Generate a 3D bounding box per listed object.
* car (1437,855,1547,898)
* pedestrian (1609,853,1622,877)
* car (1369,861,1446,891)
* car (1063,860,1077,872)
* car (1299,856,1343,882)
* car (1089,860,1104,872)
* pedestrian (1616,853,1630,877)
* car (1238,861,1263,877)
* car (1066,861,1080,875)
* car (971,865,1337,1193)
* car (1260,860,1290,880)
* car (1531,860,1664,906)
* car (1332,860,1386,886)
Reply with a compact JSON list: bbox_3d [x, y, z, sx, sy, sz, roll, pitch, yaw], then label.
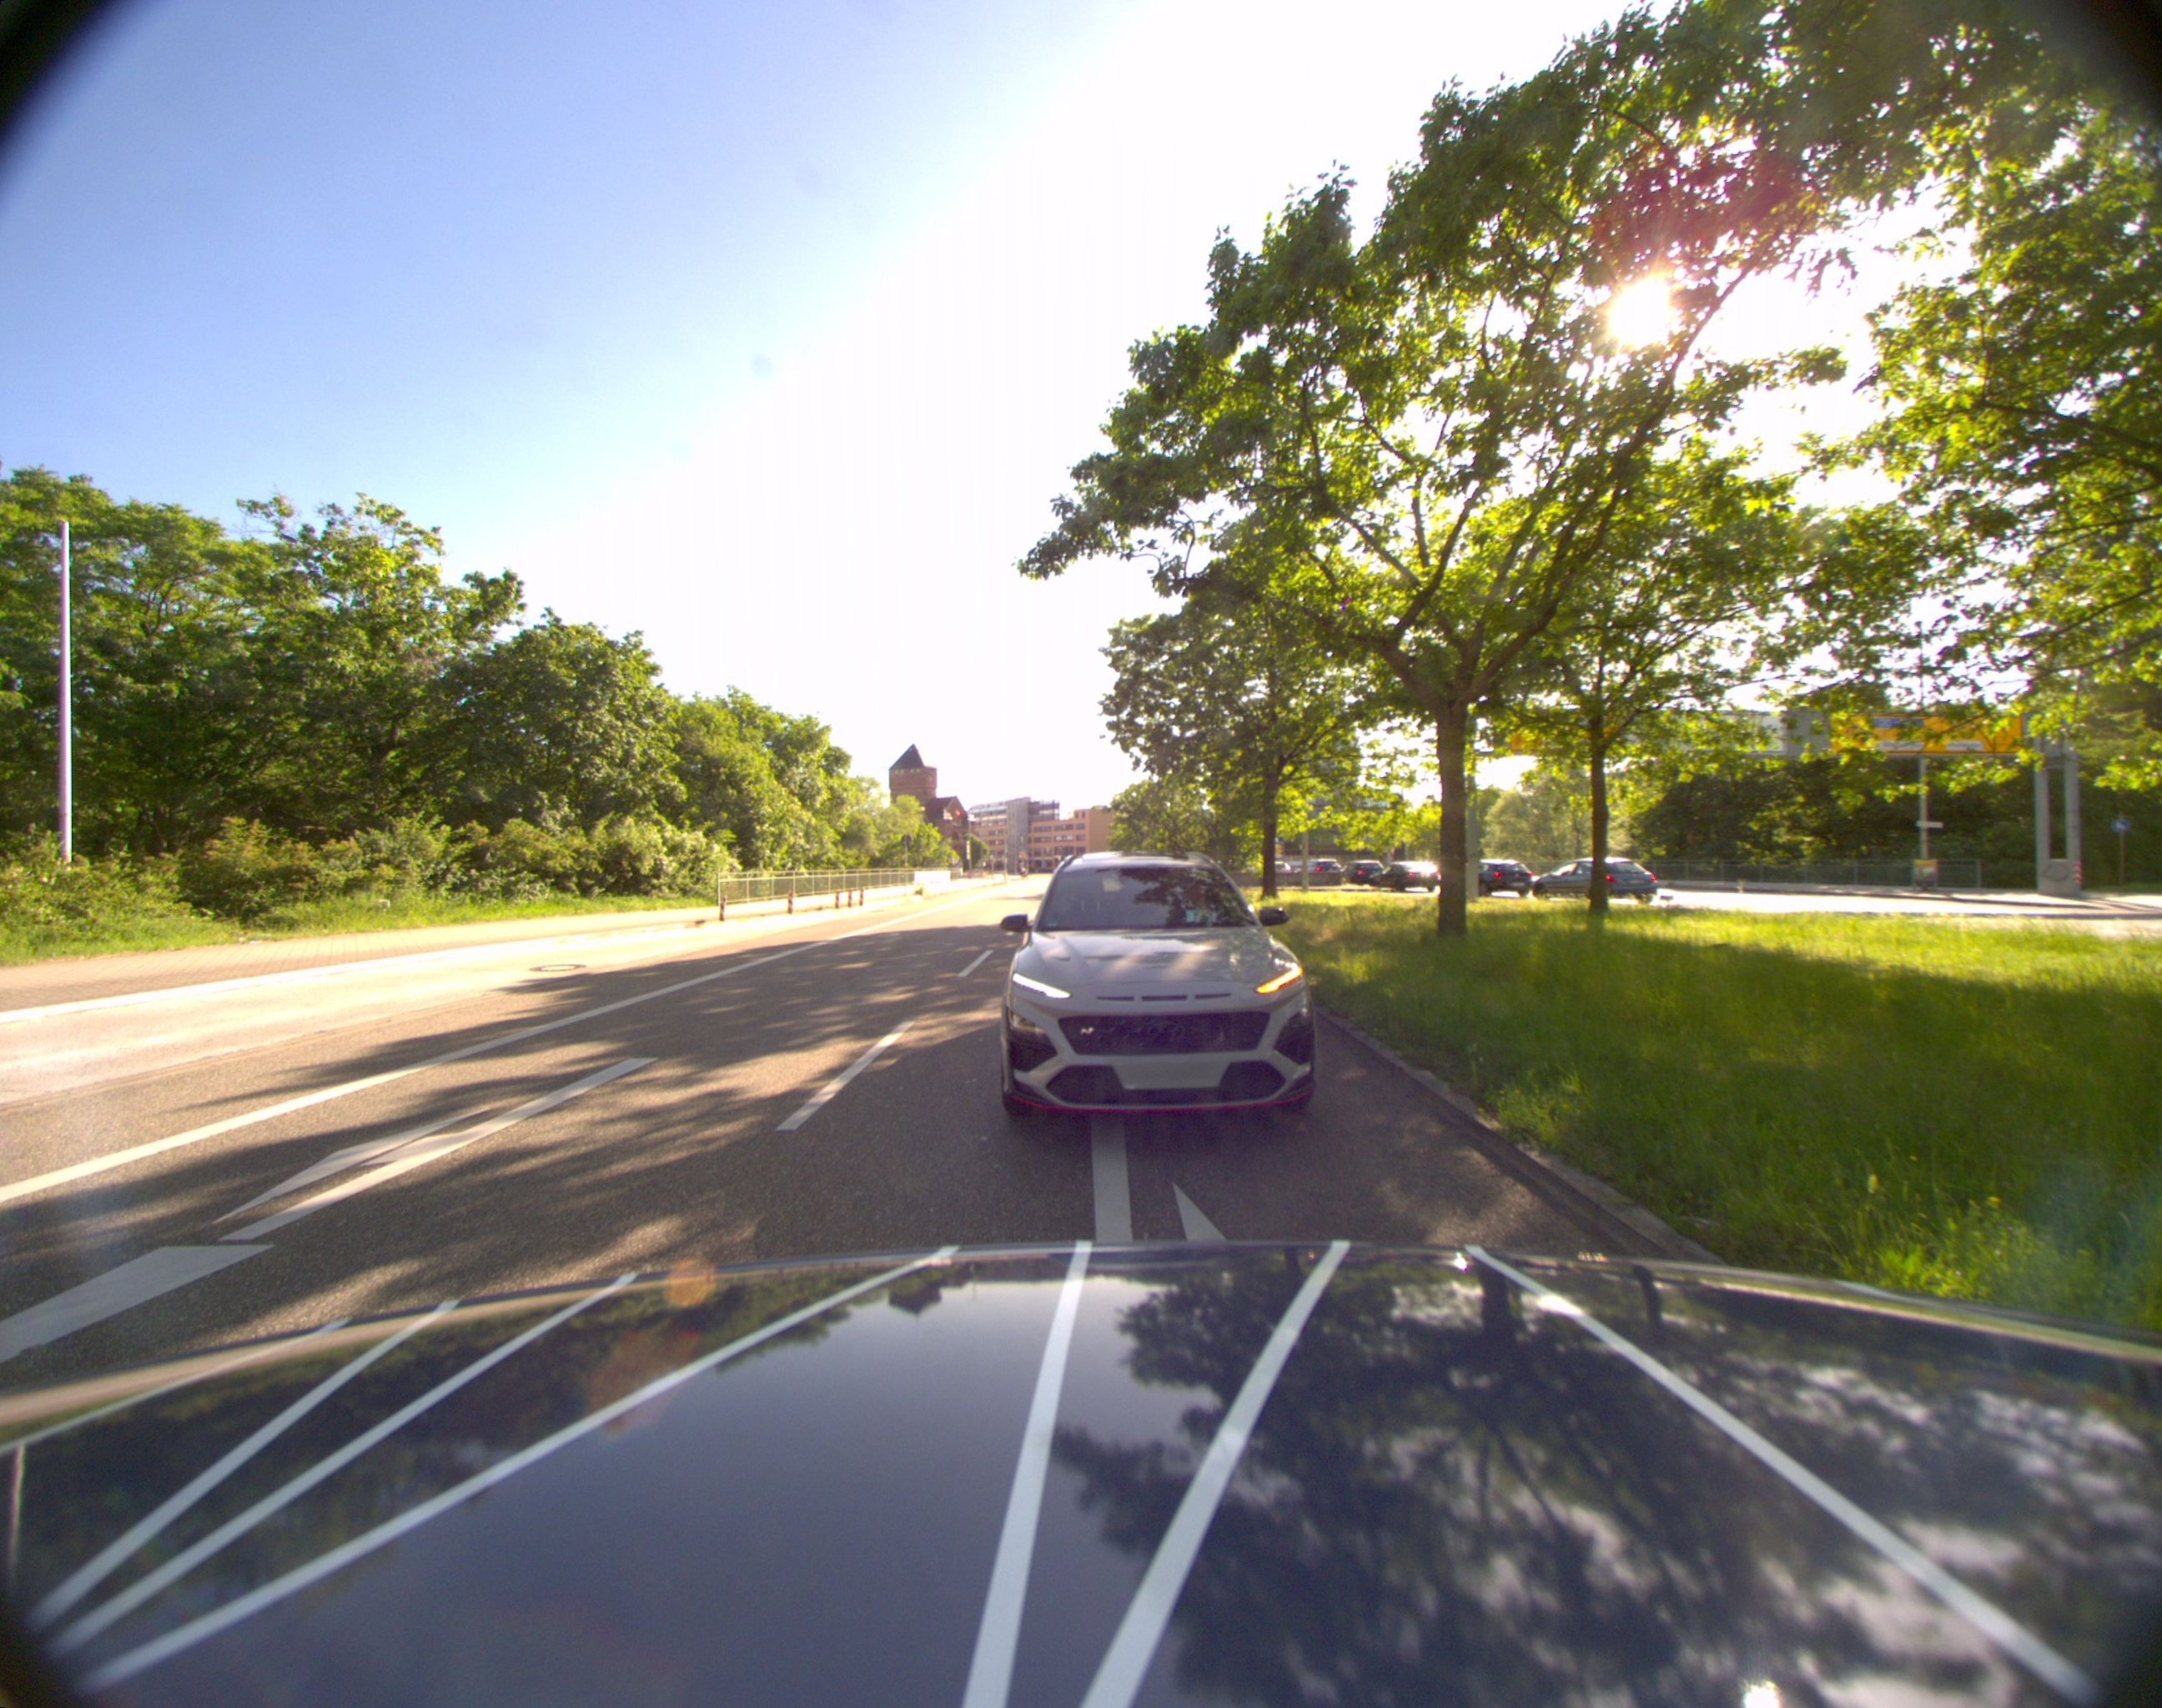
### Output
[{"bbox_3d":[16.178,0.843,30.152,1.875,1.541,4.221,-1,0,-4],"label":"car"},{"bbox_3d":[33.332,0.688,47.404,0.421,1.490,0.545,-1,0,-7],"label":"pedestrian"},{"bbox_3d":[15.466,0.995,36.224,1.623,1.305,4.066,-1,0,-6],"label":"car"},{"bbox_3d":[-1.416,1.517,99.347,1.677,1.463,4.151,-1,0,1],"label":"car"},{"bbox_3d":[14.964,0.988,47.507,1.450,1.549,3.202,-1,-2,-6],"label":"car"},{"bbox_3d":[1.984,1.481,95.835,1.892,1.420,4.387,-1,0,2],"label":"car"},{"bbox_3d":[33.861,0.681,47.458,0.421,1.490,0.545,-1,0,-7],"label":"pedestrian"},{"bbox_3d":[13.923,1.277,62.416,1.199,1.252,2.768,-1,-2,-6],"label":"car"},{"bbox_3d":[-1.153,2.079,114.037,1.959,2.002,4.000,-1,0,2],"label":"car"},{"bbox_3d":[0.381,0.881,5.689,1.752,1.523,3.988,-1,0,1],"label":"car"},{"bbox_3d":[14.312,1.204,56.110,1.228,1.331,2.882,-1,-3,-6],"label":"car"},{"bbox_3d":[16.376,0.879,24.304,1.561,1.355,3.608,-1,-1,-6],"label":"car"},{"bbox_3d":[15.141,1.030,41.481,1.481,1.331,3.202,-1,-1,-6],"label":"car"}]
